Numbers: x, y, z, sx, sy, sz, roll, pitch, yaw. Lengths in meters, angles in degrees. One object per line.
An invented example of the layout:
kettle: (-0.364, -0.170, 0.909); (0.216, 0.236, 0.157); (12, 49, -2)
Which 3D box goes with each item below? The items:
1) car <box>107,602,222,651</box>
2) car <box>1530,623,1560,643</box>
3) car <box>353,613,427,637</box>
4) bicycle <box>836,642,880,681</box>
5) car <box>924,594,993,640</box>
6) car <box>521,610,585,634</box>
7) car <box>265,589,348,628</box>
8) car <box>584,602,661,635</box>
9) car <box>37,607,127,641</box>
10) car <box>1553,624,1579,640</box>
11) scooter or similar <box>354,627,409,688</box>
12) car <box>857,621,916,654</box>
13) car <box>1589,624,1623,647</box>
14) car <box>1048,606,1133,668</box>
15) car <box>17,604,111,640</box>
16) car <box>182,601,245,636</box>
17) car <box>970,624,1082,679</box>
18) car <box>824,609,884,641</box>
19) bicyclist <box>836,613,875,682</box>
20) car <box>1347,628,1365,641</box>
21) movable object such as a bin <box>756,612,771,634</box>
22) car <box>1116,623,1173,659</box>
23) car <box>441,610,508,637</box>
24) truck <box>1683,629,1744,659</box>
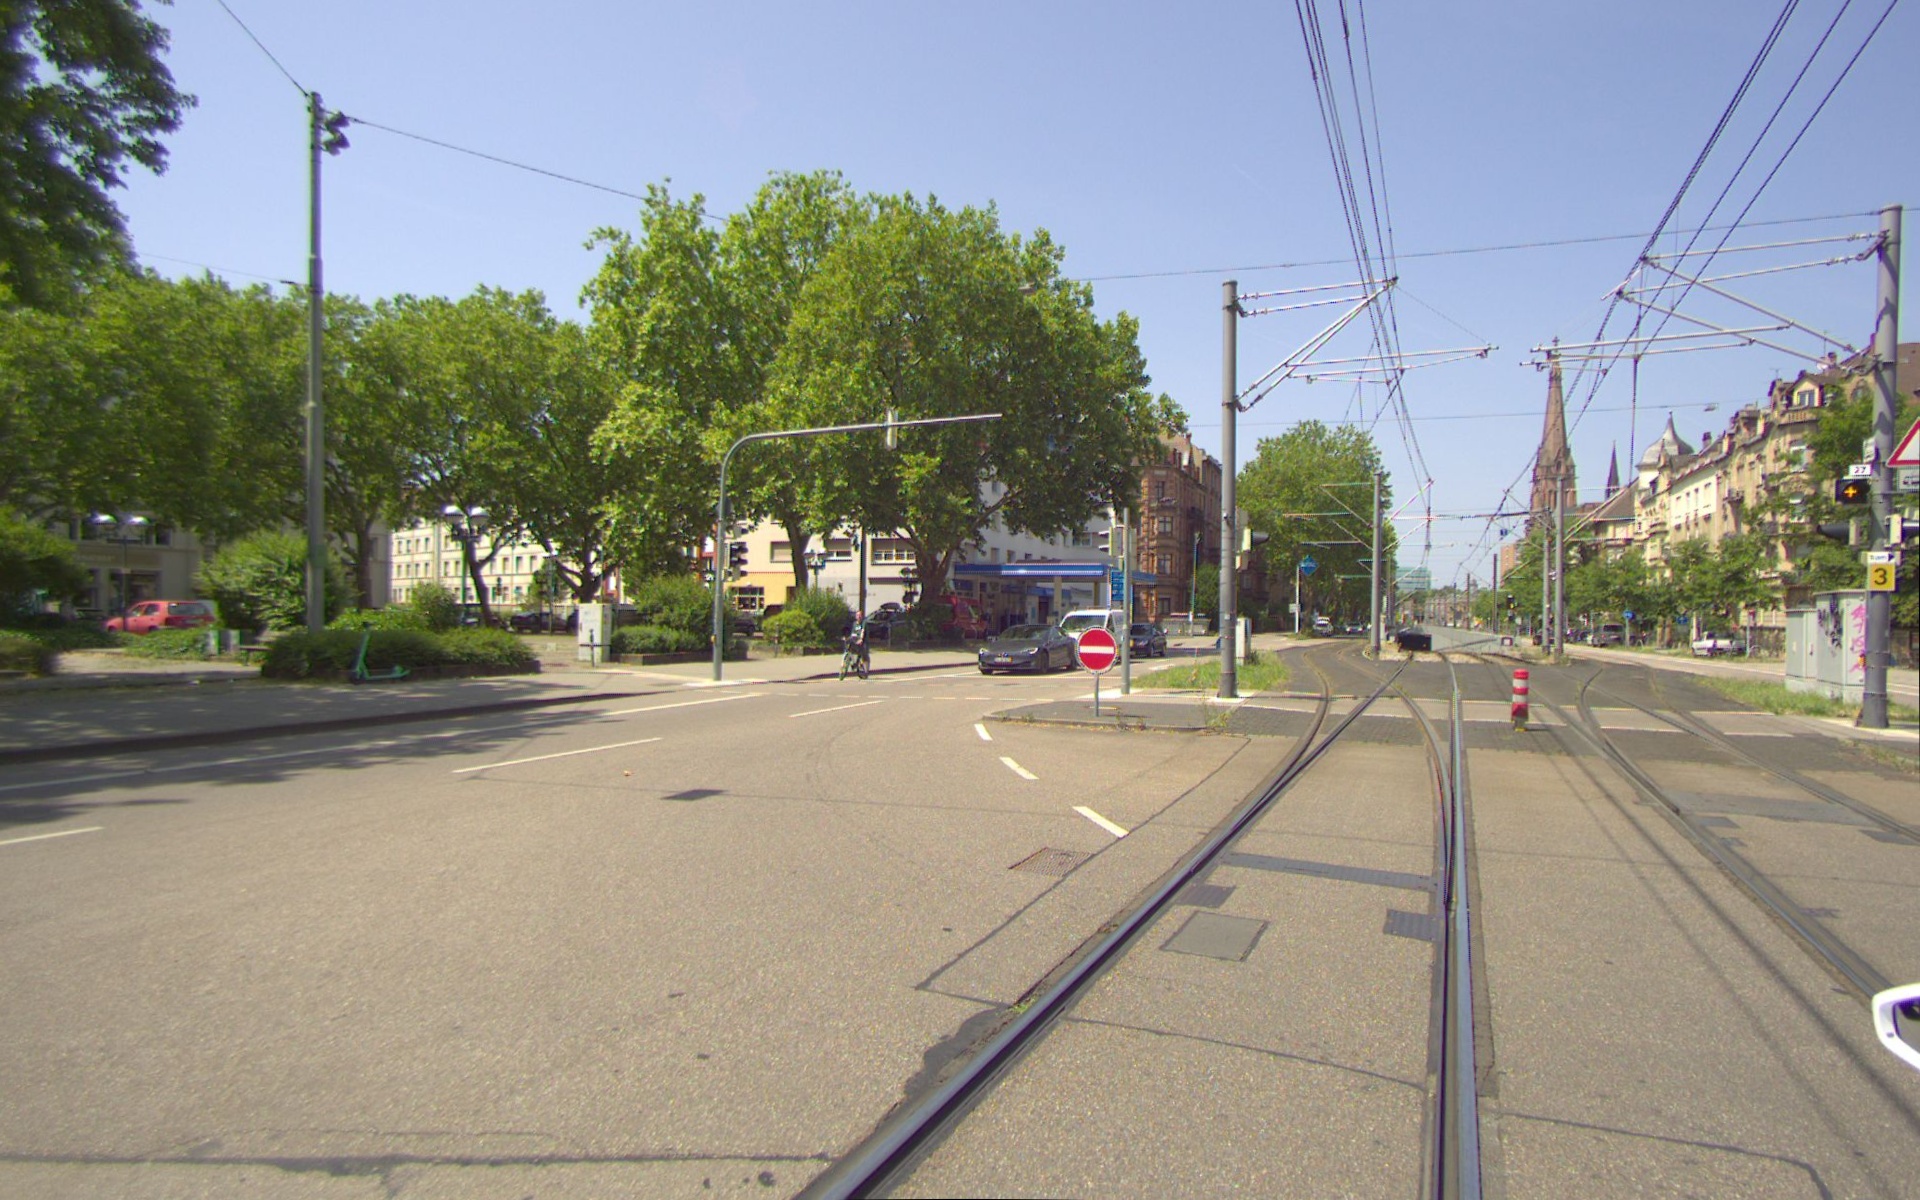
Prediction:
car: (-25.431, 0.836, 32.116); (3.280, 1.402, 1.472); (2, 0, 24)
car: (49.003, 2.774, 84.226); (1.722, 1.559, 3.756); (2, 0, 24)
car: (-33.962, 1.455, 59.851); (3.775, 1.272, 1.923); (2, 0, 22)
bicycle: (-2.594, 1.558, 25.707); (0.488, 0.894, 1.482); (2, 0, 21)
car: (-0.023, 0.920, 54.873); (1.818, 2.424, 4.977); (1, -1, 25)
car: (-27.145, 1.477, 67.148); (1.885, 1.507, 3.851); (1, 0, 19)
car: (-35.985, 0.475, 55.322); (3.926, 1.975, 2.163); (2, 0, 28)
car: (-21.447, 1.155, 64.040); (1.885, 2.017, 5.108); (1, 0, 19)
car: (-40.381, 1.091, 46.198); (3.851, 1.428, 1.621); (2, 0, 24)
car: (61.951, 3.256, 102.755); (1.722, 1.599, 3.756); (2, 0, 24)
scooter or similar: (-11.100, 1.101, 19.292); (0.253, 1.135, 0.857); (2, 0, 36)
car: (-4.014, 2.032, 55.247); (1.556, 1.664, 3.923); (1, -1, 25)
car: (52.234, 2.883, 81.262); (1.722, 1.728, 3.756); (2, 0, 24)
car: (4.710, 1.258, 35.605); (1.748, 2.017, 4.803); (1, -1, 23)
car: (-31.069, 0.745, 34.820); (2.685, 1.112, 1.357); (2, 0, 22)
car: (-45.356, 1.087, 61.028); (3.854, 1.975, 1.571); (2, 0, 28)
car: (2.047, 1.459, 29.755); (1.915, 1.377, 4.626); (1, 0, 23)
car: (-5.887, 1.398, 56.365); (1.556, 1.715, 3.923); (0, -1, 24)
bicyclist: (-2.669, 1.210, 25.695); (0.628, 1.708, 0.869); (2, 0, 21)
car: (49.520, 4.286, 125.595); (1.818, 1.647, 4.599); (0, -1, 25)
movable object such as a bin: (-14.426, 1.681, 73.850); (0.551, 1.581, 1.018); (2, 0, 25)
car: (7.813, 1.680, 42.306); (1.571, 1.439, 3.780); (-1, -1, 23)
car: (-30.695, 1.474, 63.550); (3.775, 1.508, 1.733); (1, 2, 22)
truck: (41.953, 2.409, 56.026); (1.761, 1.546, 4.462); (0, -1, 24)
